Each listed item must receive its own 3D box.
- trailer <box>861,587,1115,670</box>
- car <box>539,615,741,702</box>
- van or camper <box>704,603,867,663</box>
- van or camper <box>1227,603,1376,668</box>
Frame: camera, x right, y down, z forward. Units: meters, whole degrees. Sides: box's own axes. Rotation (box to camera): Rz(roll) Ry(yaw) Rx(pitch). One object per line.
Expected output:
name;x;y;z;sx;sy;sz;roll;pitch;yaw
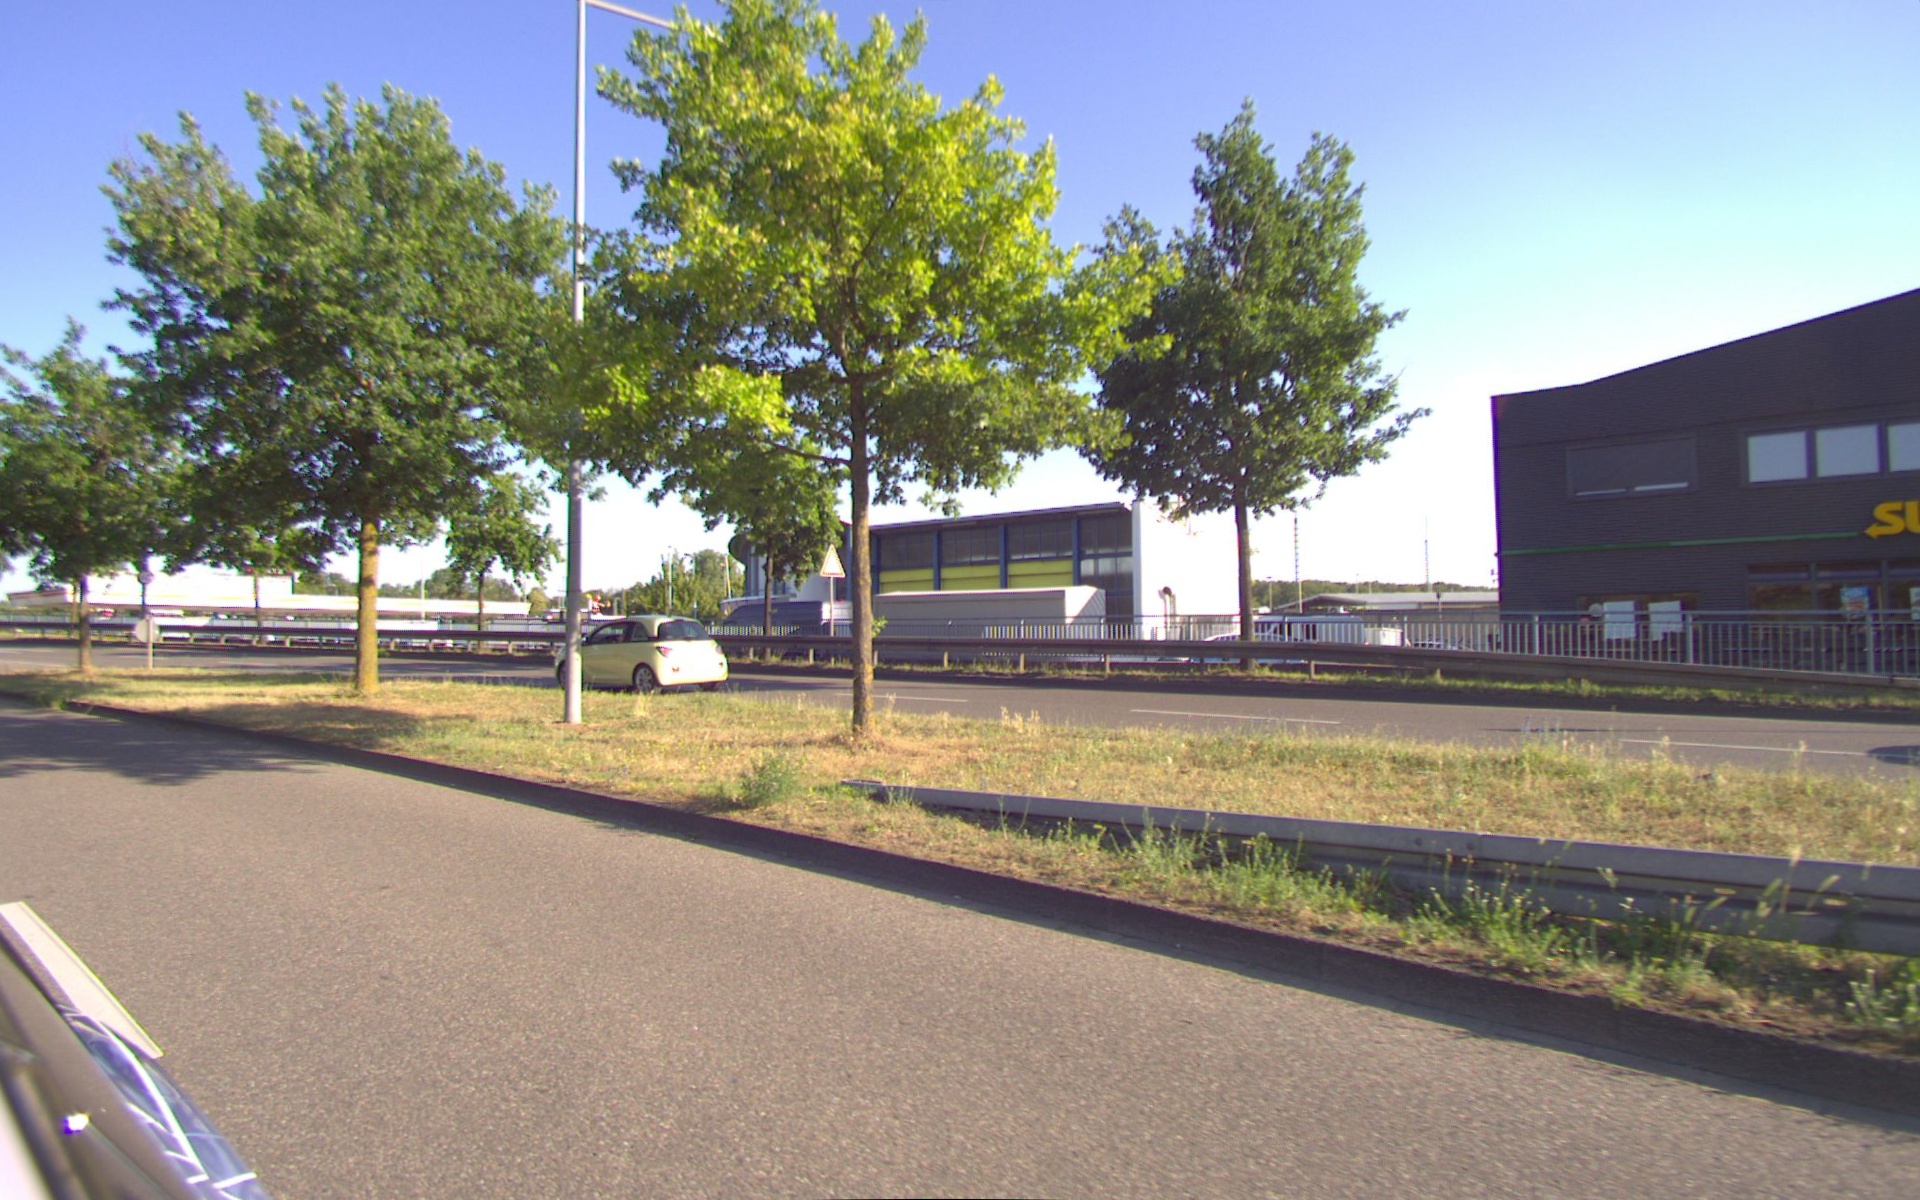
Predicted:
trailer;0.635;0.745;27.049;6.588;1.985;2.399;-1;-1;34
car;-6.117;1.044;19.231;3.756;1.473;1.726;-1;-1;34
van or camper;-5.420;0.981;31.124;4.946;1.698;1.978;-1;-1;33
van or camper;10.775;1.108;31.969;4.156;1.940;2.007;2;-1;-23
